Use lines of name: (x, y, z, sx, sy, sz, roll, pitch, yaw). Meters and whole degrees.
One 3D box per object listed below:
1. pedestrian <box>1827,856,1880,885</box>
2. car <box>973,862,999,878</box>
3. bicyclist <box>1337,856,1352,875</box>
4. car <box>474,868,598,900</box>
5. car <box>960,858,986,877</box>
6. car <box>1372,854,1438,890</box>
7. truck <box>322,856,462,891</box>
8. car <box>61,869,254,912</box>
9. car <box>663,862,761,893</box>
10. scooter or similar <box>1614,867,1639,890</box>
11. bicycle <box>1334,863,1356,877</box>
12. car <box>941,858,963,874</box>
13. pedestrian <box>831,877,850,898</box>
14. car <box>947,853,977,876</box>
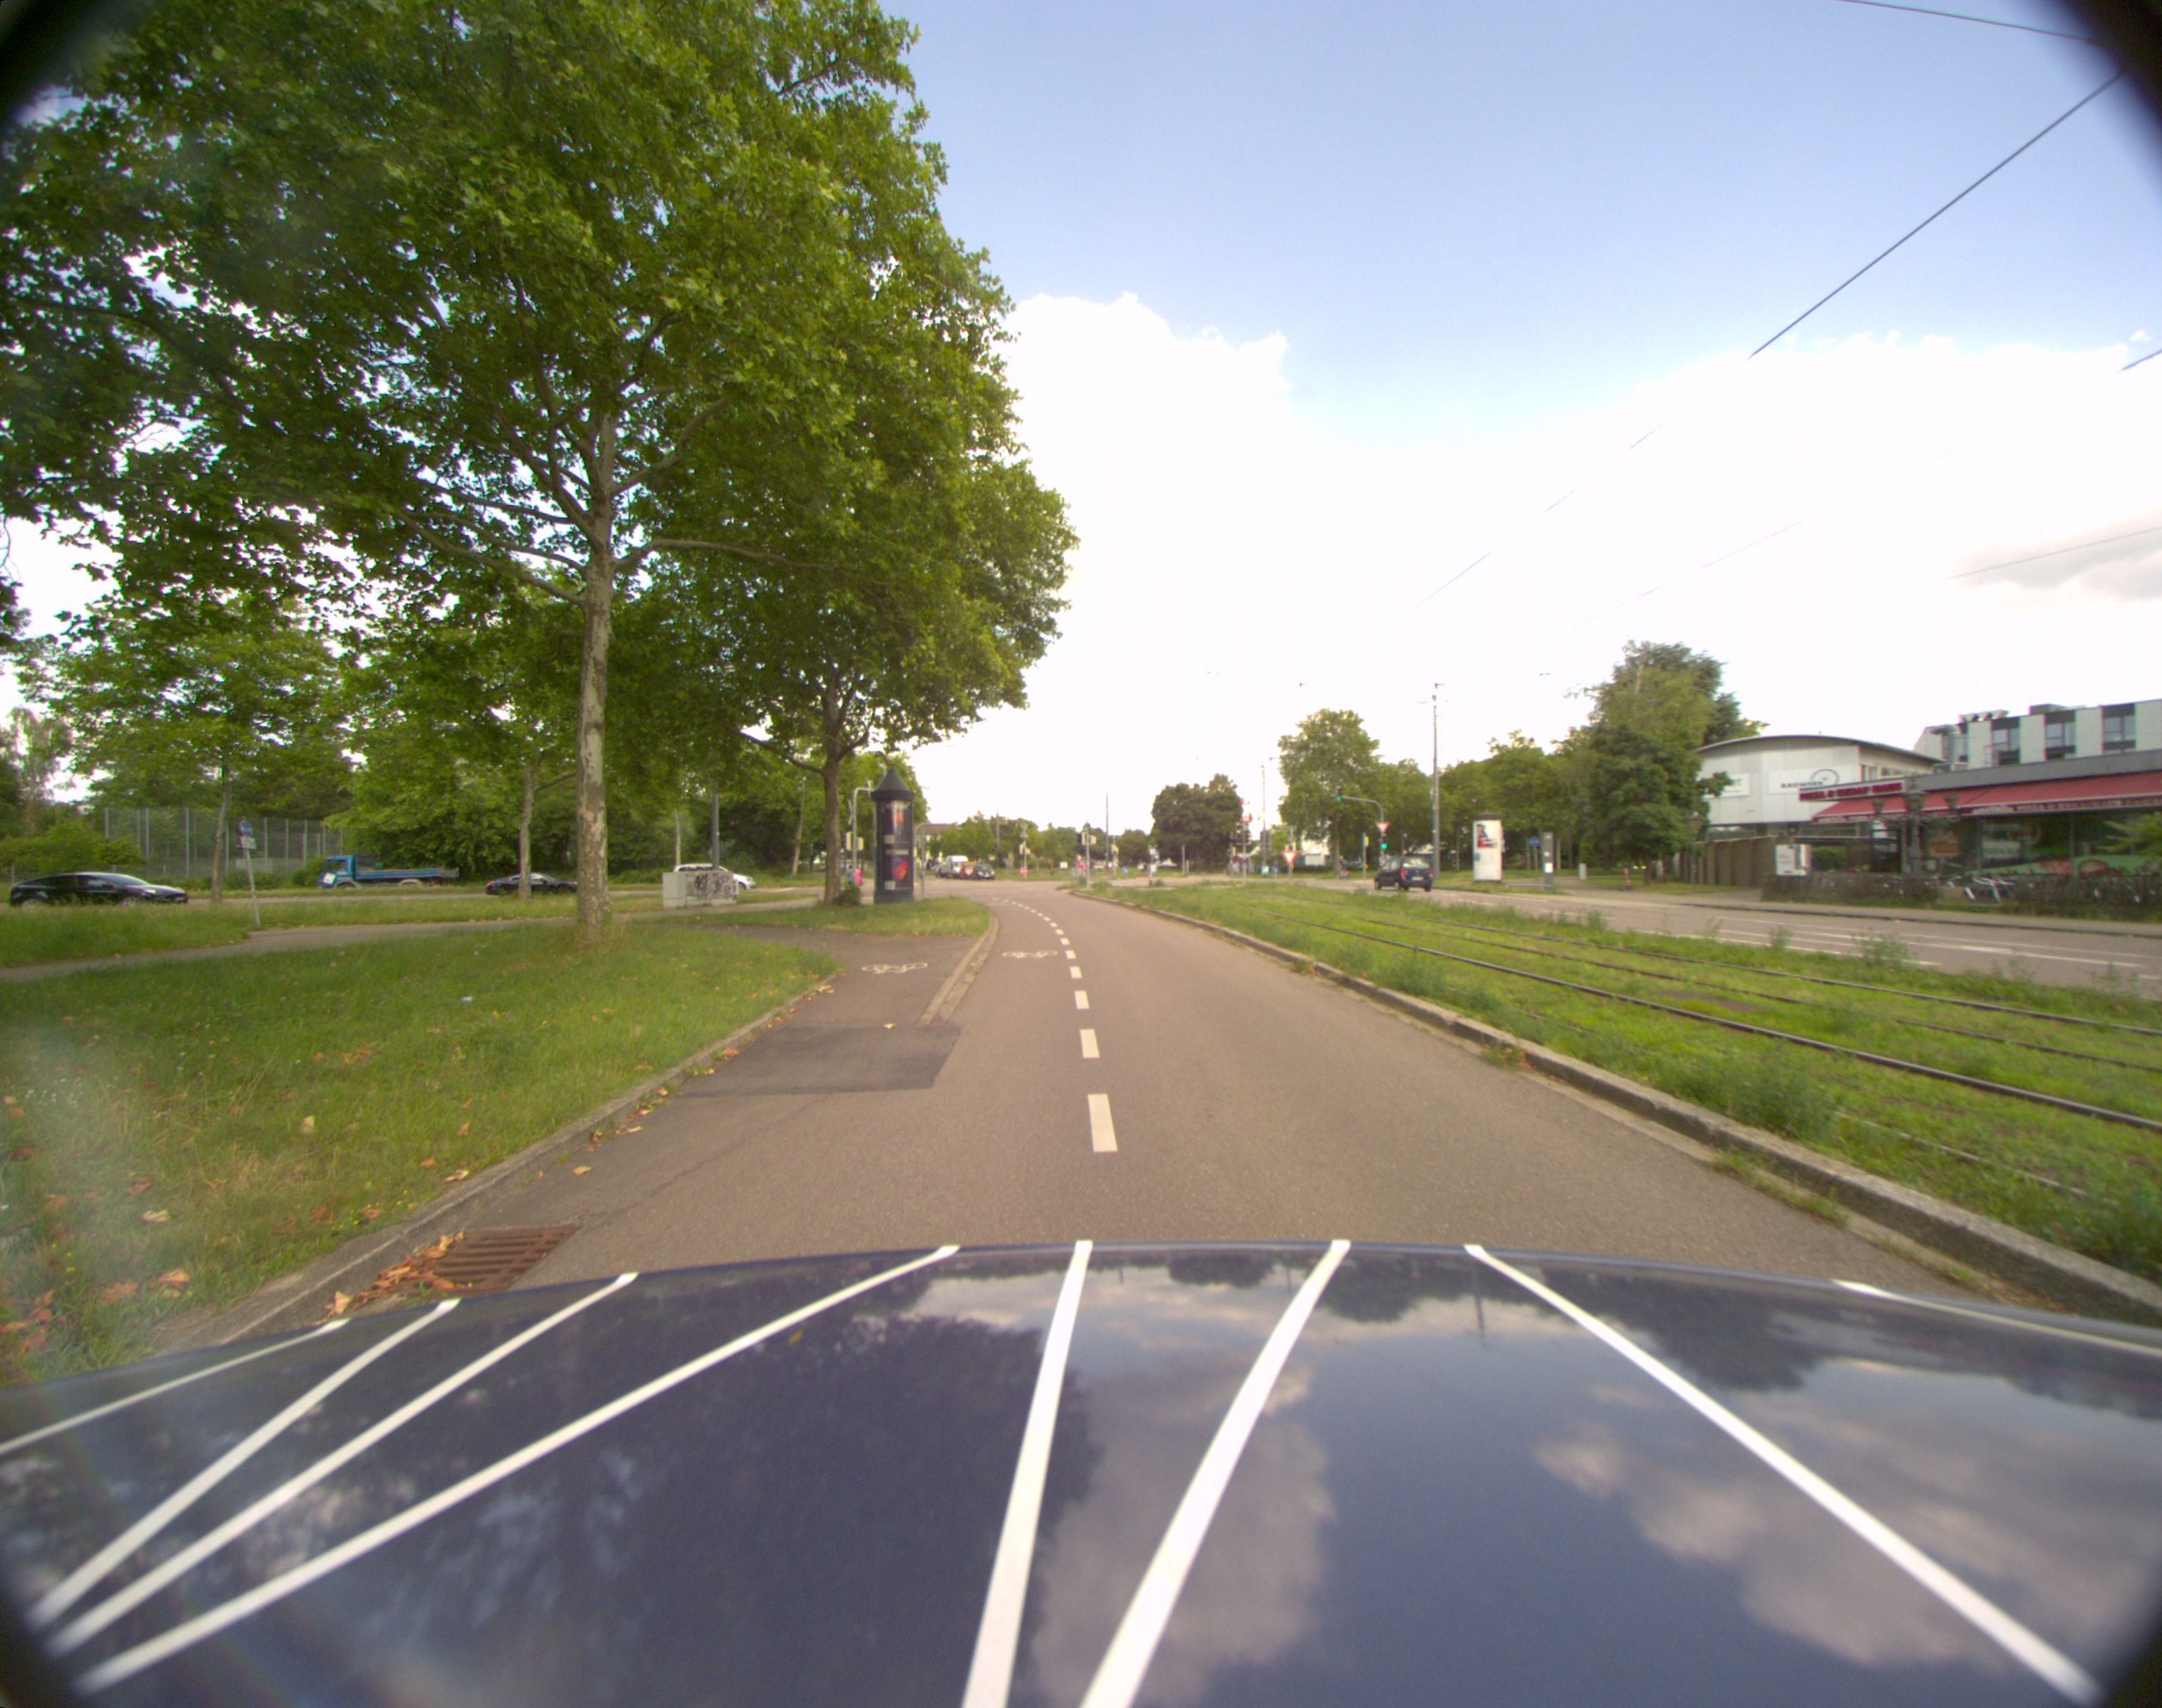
pedestrian: (30.736, 0.665, 30.257, 1.156, 1.139, 0.932, 0, 0, 1)
car: (-9.369, 1.553, 74.765, 1.798, 1.530, 3.994, -1, 0, -19)
bicyclist: (20.511, 0.878, 59.110, 0.804, 1.461, 0.832, -1, -1, -6)
car: (-27.678, 1.483, 38.780, 4.754, 1.461, 1.996, 0, 1, -21)
car: (-11.466, 1.426, 80.483, 1.798, 1.924, 4.361, -1, 0, -20)
car: (15.466, 0.841, 36.495, 1.783, 1.617, 3.496, 0, 0, 2)
truck: (-41.748, 1.145, 46.212, 5.860, 2.002, 2.289, 0, 0, -17)
car: (-38.246, 1.474, 31.654, 4.691, 1.601, 1.996, 0, 1, -21)
car: (-20.362, 1.274, 42.141, 4.692, 1.601, 1.996, 0, 1, -21)
scooter or similar: (25.101, 1.128, 34.996, 0.427, 1.027, 1.224, -1, 0, 10)
bicycle: (20.520, 1.252, 59.147, 0.804, 1.053, 2.069, -1, -2, -6)
car: (-15.603, 1.430, 92.025, 1.798, 1.924, 4.361, -1, 0, -20)
pedestrian: (-12.204, 1.701, 38.558, 0.722, 1.028, 0.901, -1, 0, -7)
car: (-13.619, 1.202, 86.654, 2.242, 2.492, 5.716, -1, 0, -21)
